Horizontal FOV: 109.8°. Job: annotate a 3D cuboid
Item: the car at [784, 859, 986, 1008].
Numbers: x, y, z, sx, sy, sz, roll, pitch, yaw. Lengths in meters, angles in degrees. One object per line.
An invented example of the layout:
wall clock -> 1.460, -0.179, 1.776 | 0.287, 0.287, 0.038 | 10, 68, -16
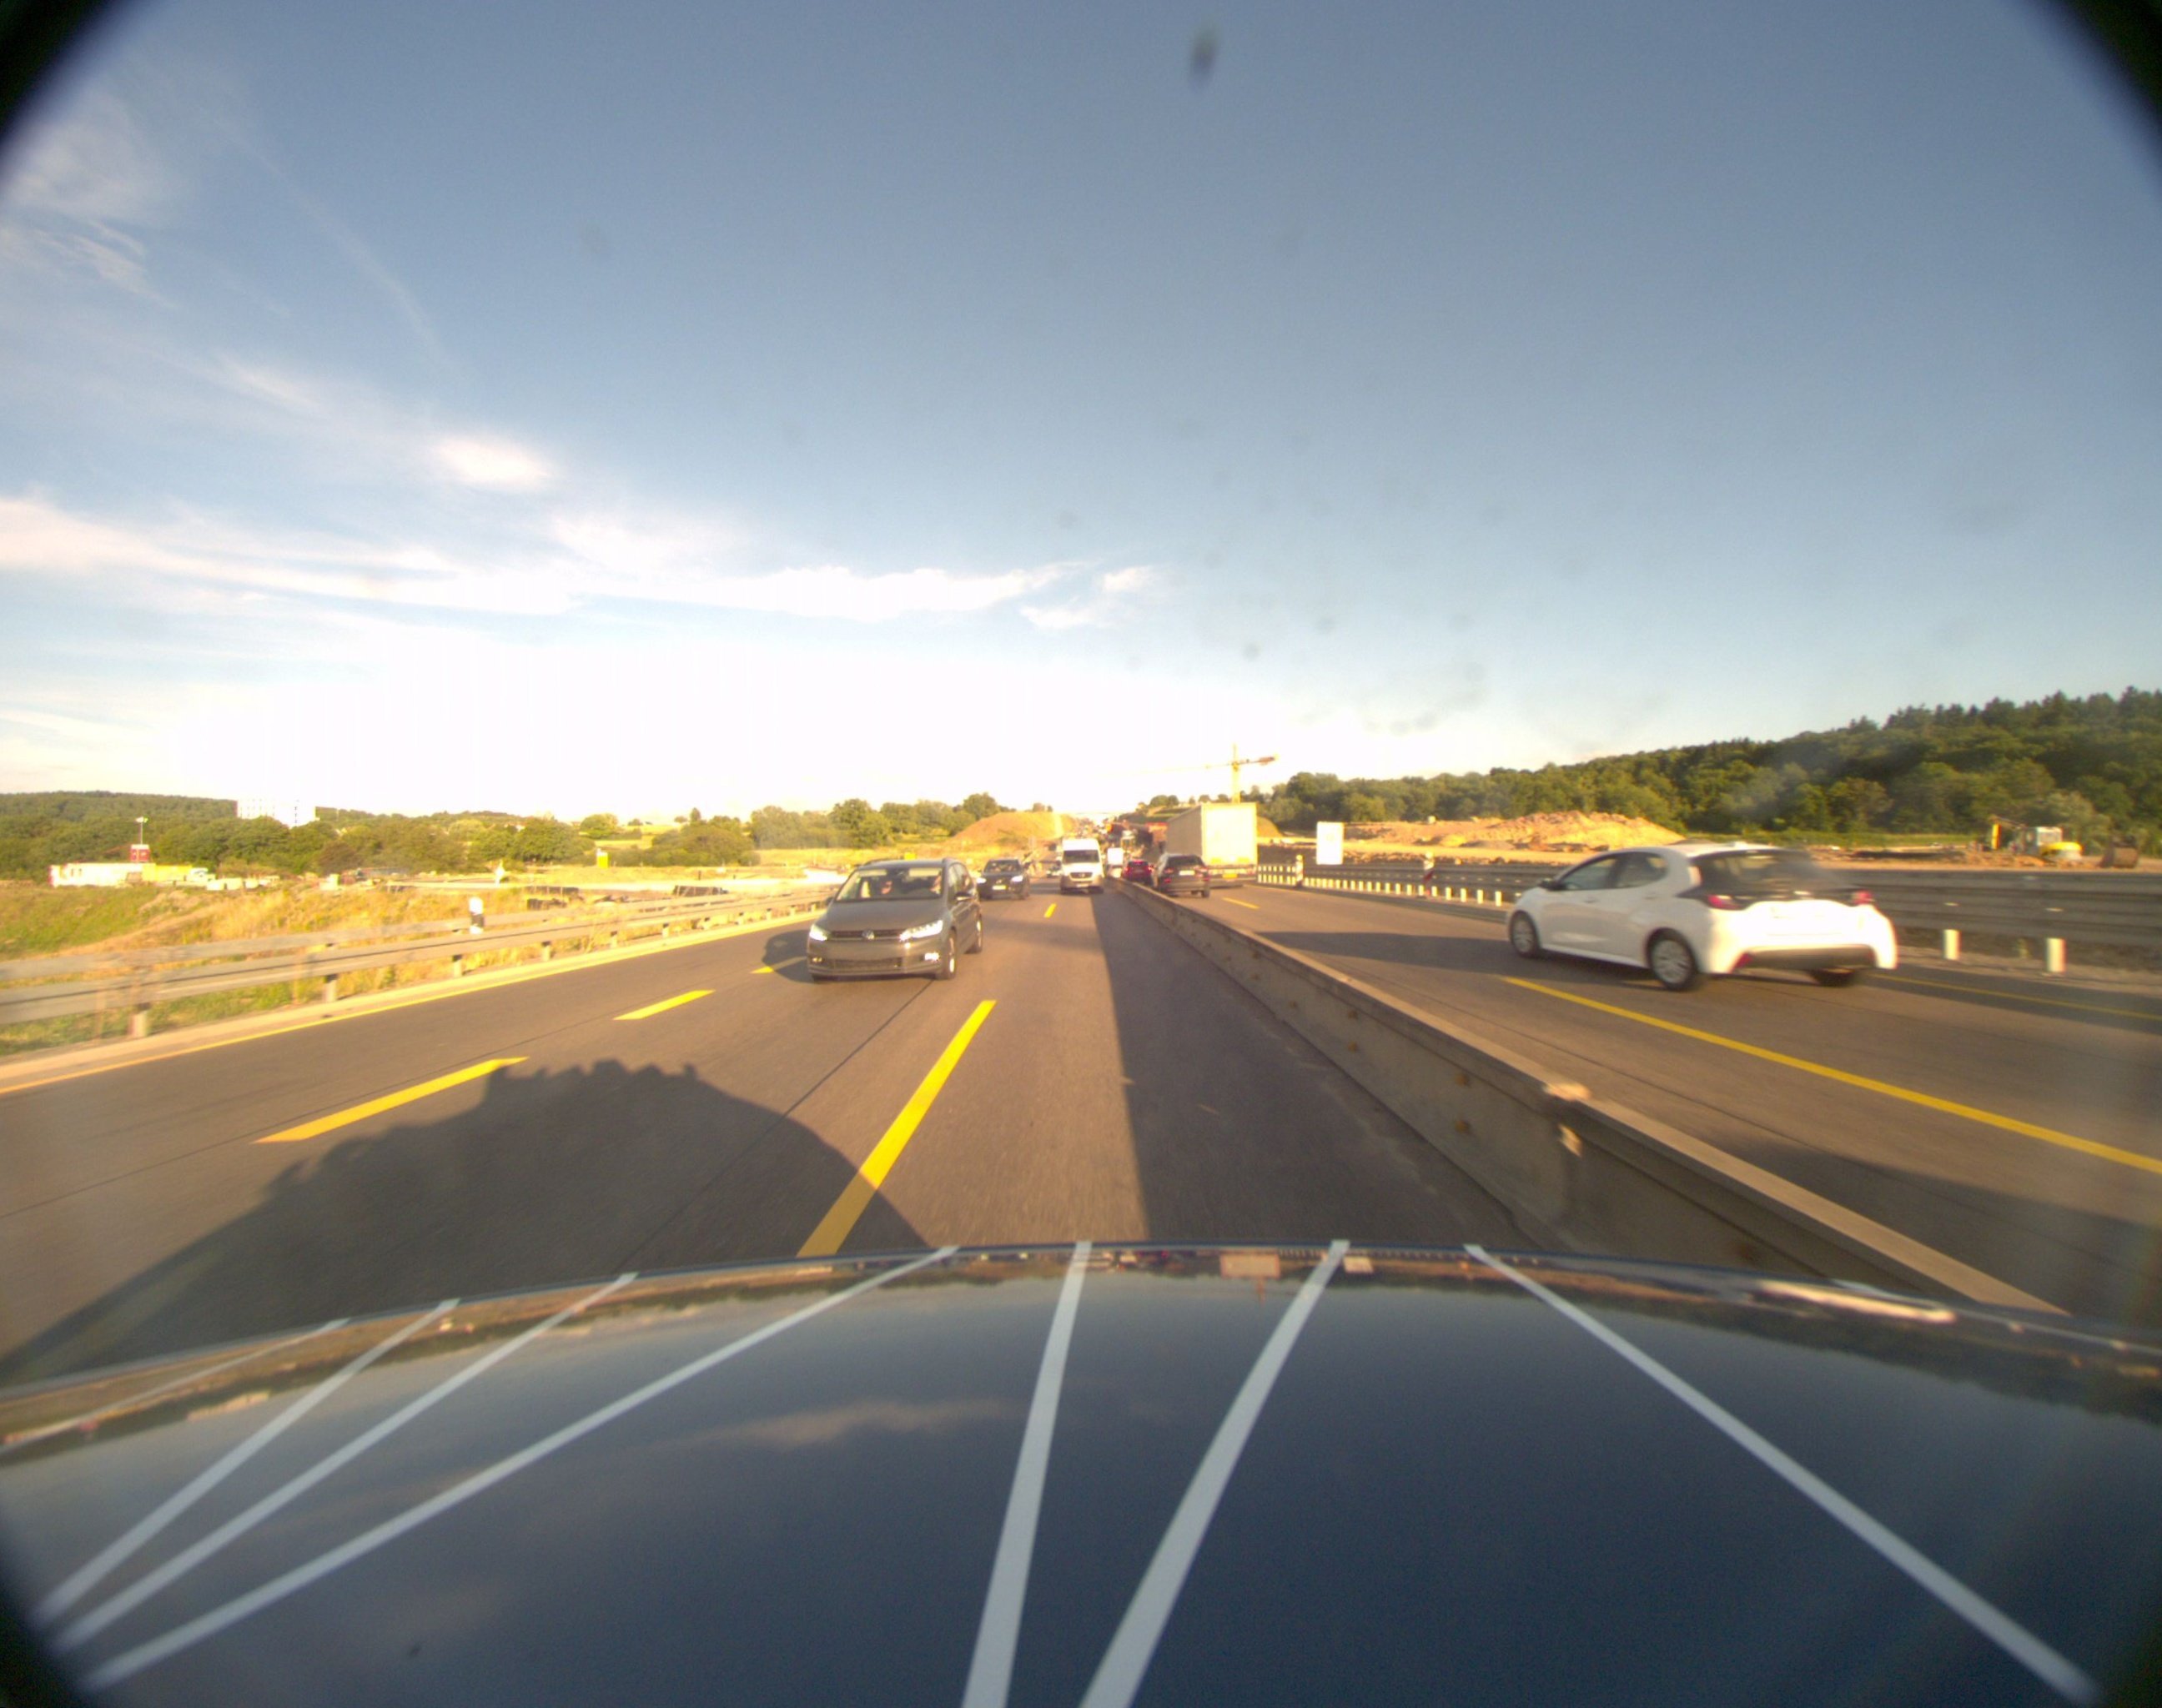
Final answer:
car -> -2.615, 0.958, 11.322 | 1.817, 1.606, 4.525 | -3, 1, -1

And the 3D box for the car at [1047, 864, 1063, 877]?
car -> -3.081, 1.921, 91.331 | 1.791, 1.477, 4.000 | -2, -1, -1

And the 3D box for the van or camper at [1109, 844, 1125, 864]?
van or camper -> 6.537, 0.099, 138.795 | 2.464, 3.477, 7.413 | -2, 0, -1

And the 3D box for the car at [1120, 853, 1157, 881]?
car -> 3.600, 0.791, 48.109 | 1.998, 1.610, 4.605 | -1, 0, 0

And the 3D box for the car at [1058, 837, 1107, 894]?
car -> 0.091, 0.532, 36.866 | 2.110, 2.518, 5.220 | -2, 0, 0

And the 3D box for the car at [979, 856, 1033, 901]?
car -> -3.106, 0.987, 32.357 | 1.902, 1.703, 4.887 | -2, 0, -1

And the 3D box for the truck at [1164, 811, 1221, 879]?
truck -> 7.034, -0.545, 48.651 | 2.821, 4.025, 5.672 | -1, 0, 1

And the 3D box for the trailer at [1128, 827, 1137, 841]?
trailer -> 16.735, -6.512, 247.050 | 2.536, 4.190, 13.932 | -3, 2, 4

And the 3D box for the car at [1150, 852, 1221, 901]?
car -> 3.866, 0.786, 28.899 | 1.999, 1.635, 4.511 | -2, 0, 0

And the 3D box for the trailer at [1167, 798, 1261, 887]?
trailer -> 6.942, -0.543, 42.019 | 2.821, 4.027, 14.021 | -1, 0, 1

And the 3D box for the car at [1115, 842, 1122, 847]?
car -> 10.765, -2.696, 219.310 | 1.719, 1.401, 4.328 | -1, 1, 5

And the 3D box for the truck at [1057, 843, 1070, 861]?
truck -> -3.739, -0.419, 162.608 | 2.264, 3.705, 6.571 | -4, 0, -2

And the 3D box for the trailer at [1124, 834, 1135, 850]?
trailer -> 12.932, -3.149, 202.319 | 2.780, 4.008, 13.685 | -1, 0, 4

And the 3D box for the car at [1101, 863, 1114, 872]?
car -> 4.214, 2.116, 120.691 | 1.820, 1.454, 4.705 | -2, 0, -1

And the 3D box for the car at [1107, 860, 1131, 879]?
car -> 3.438, 1.408, 68.664 | 1.771, 1.526, 3.999 | -2, 0, -2

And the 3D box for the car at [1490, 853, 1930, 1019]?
car -> 6.623, 0.726, 8.695 | 1.705, 1.437, 4.000 | -1, 0, 0
